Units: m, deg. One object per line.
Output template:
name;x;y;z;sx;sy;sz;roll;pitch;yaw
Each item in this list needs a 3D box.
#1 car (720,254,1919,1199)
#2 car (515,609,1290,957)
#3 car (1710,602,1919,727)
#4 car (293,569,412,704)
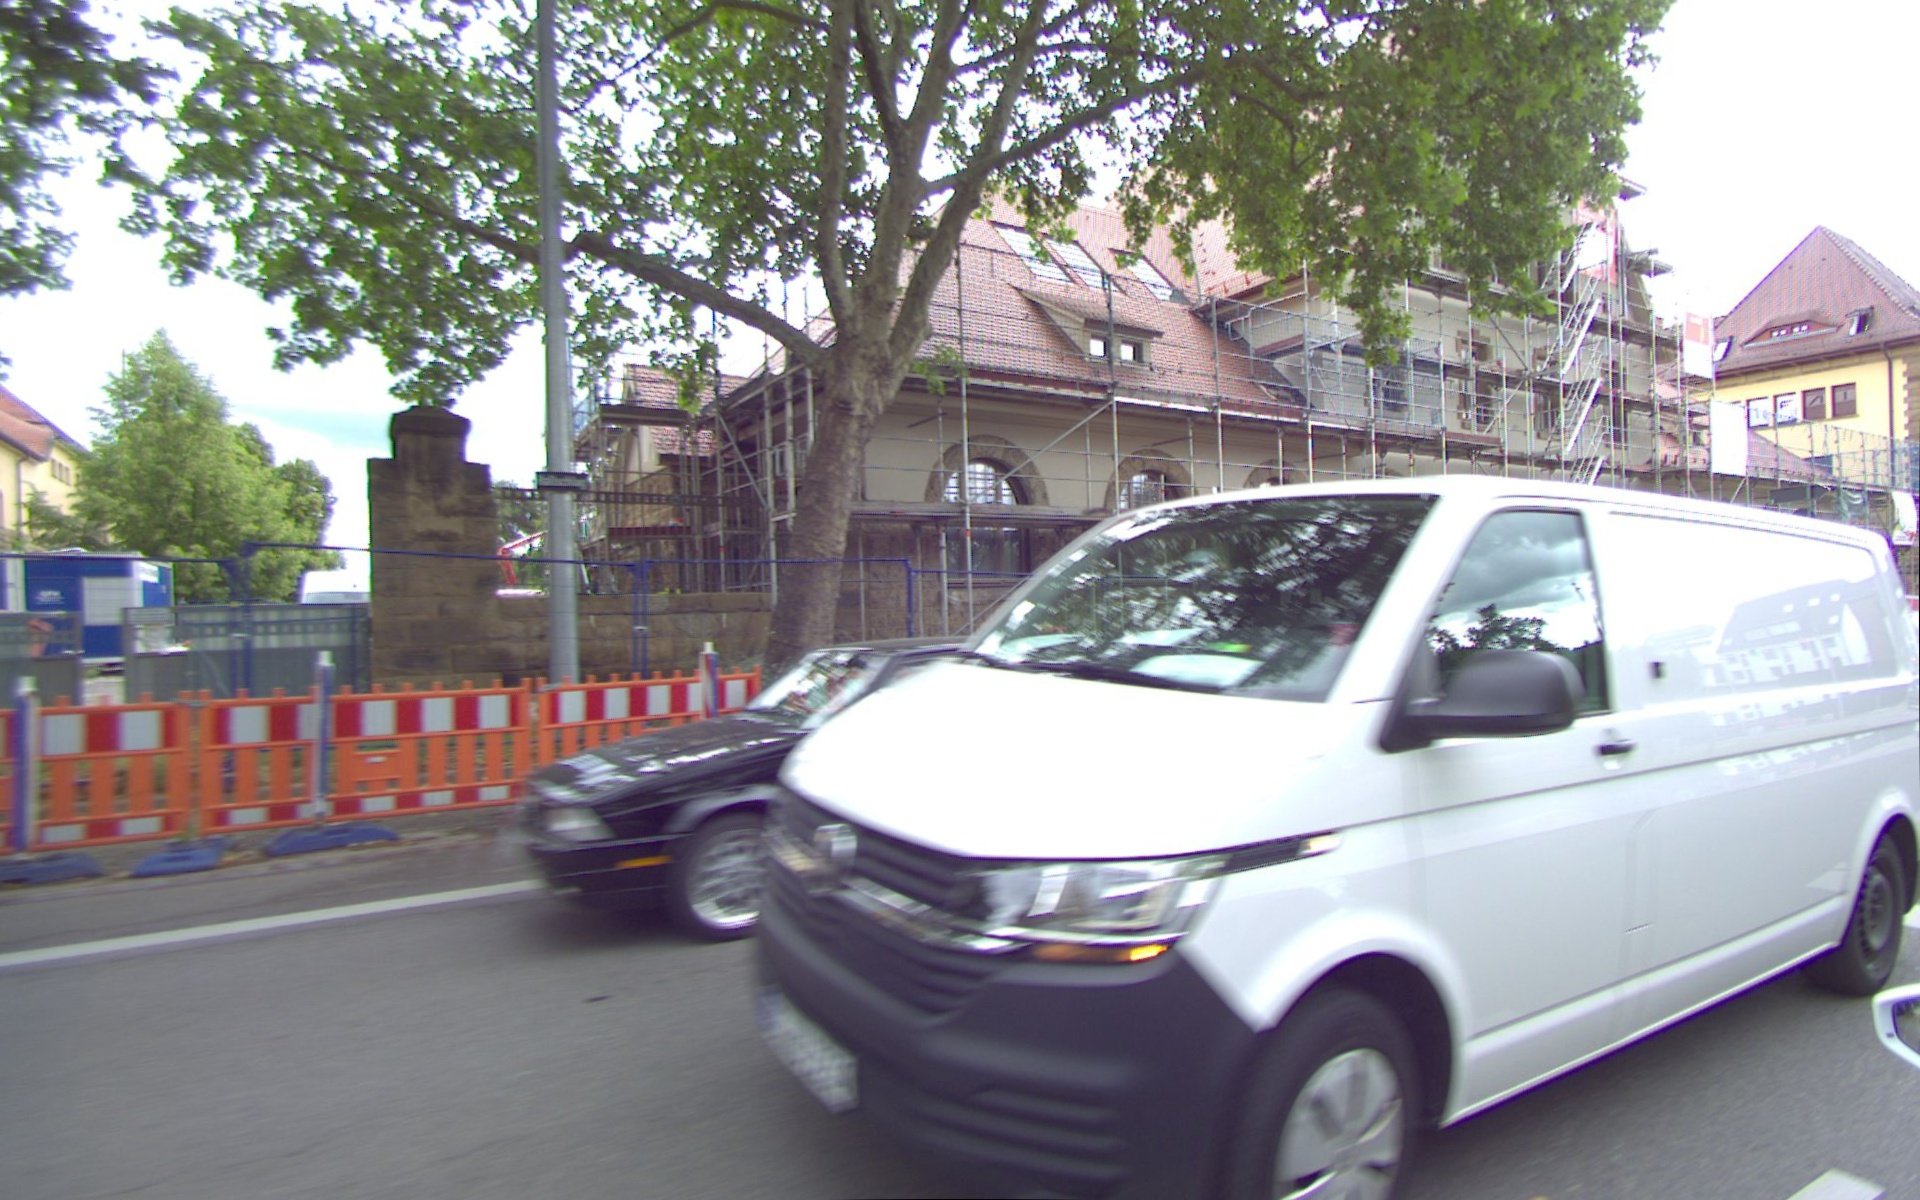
car;1.942;0.492;3.857;5.182;1.956;2.193;1;-1;-32
car;-0.180;0.833;6.308;4.586;1.477;1.792;0;-3;-33
car;12.657;0.810;13.956;4.790;1.492;1.794;0;-1;-29
car;-14.065;0.685;23.073;1.980;2.684;6.006;1;1;-34
